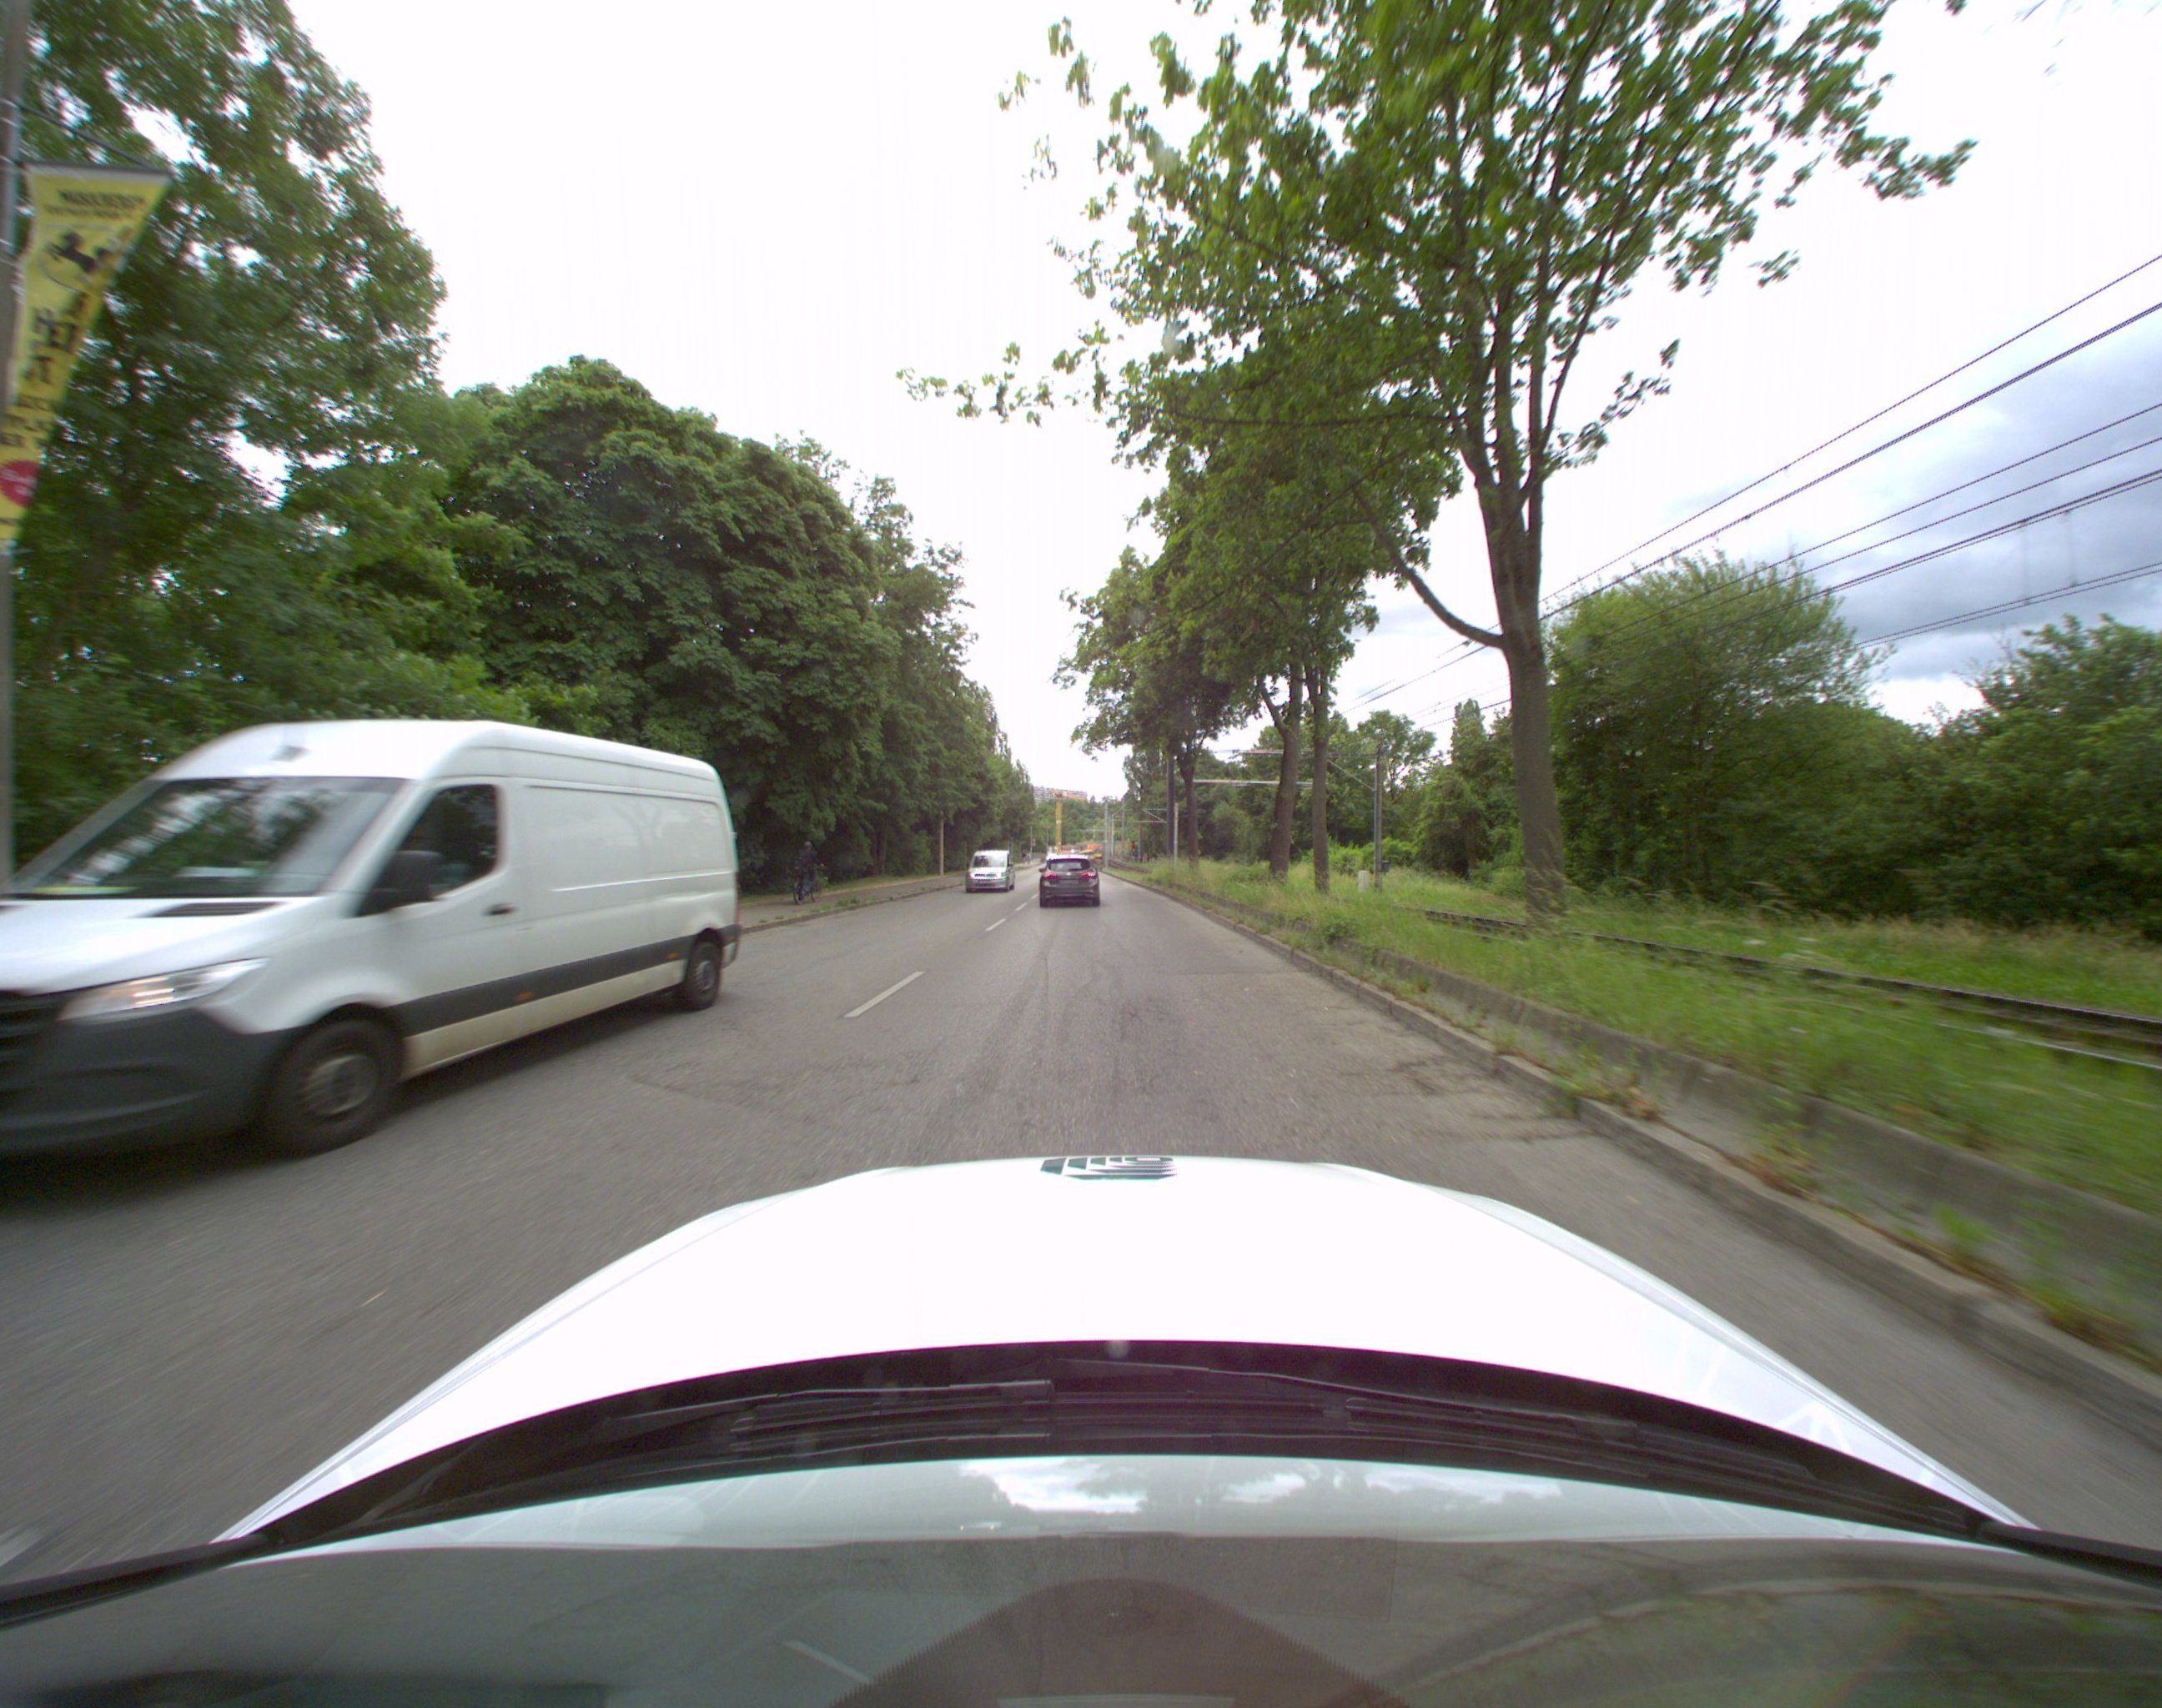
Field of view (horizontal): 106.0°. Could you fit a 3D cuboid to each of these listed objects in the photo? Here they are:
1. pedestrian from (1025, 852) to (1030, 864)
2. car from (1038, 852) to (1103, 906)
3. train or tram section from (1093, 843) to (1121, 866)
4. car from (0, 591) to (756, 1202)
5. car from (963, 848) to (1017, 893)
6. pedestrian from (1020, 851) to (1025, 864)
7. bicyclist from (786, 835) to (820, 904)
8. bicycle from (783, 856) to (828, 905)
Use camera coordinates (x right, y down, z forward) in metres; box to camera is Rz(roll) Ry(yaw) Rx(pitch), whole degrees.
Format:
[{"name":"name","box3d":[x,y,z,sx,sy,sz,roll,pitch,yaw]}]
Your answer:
[{"name":"pedestrian","box3d":[-7.417,0.556,113.342,0.549,1.765,0.858,4,-1,-2]},{"name":"car","box3d":[-0.405,0.721,25.093,1.826,1.510,3.995,0,0,-3]},{"name":"train or tram section","box3d":[6.679,0.222,218.216,3.028,5.183,22.974,2,-2,-9]},{"name":"car","box3d":[-4.853,0.181,6.463,1.986,2.626,5.897,0,0,2]},{"name":"car","box3d":[-3.920,0.668,35.943,1.850,1.799,4.556,-1,0,0]},{"name":"pedestrian","box3d":[-8.090,0.485,113.041,0.585,1.803,0.822,2,-1,-2]},{"name":"bicyclist","box3d":[-8.040,0.440,23.562,0.685,1.948,0.834,1,-1,-4]},{"name":"bicycle","box3d":[-8.063,0.748,23.930,0.697,1.331,2.277,1,0,-4]}]
